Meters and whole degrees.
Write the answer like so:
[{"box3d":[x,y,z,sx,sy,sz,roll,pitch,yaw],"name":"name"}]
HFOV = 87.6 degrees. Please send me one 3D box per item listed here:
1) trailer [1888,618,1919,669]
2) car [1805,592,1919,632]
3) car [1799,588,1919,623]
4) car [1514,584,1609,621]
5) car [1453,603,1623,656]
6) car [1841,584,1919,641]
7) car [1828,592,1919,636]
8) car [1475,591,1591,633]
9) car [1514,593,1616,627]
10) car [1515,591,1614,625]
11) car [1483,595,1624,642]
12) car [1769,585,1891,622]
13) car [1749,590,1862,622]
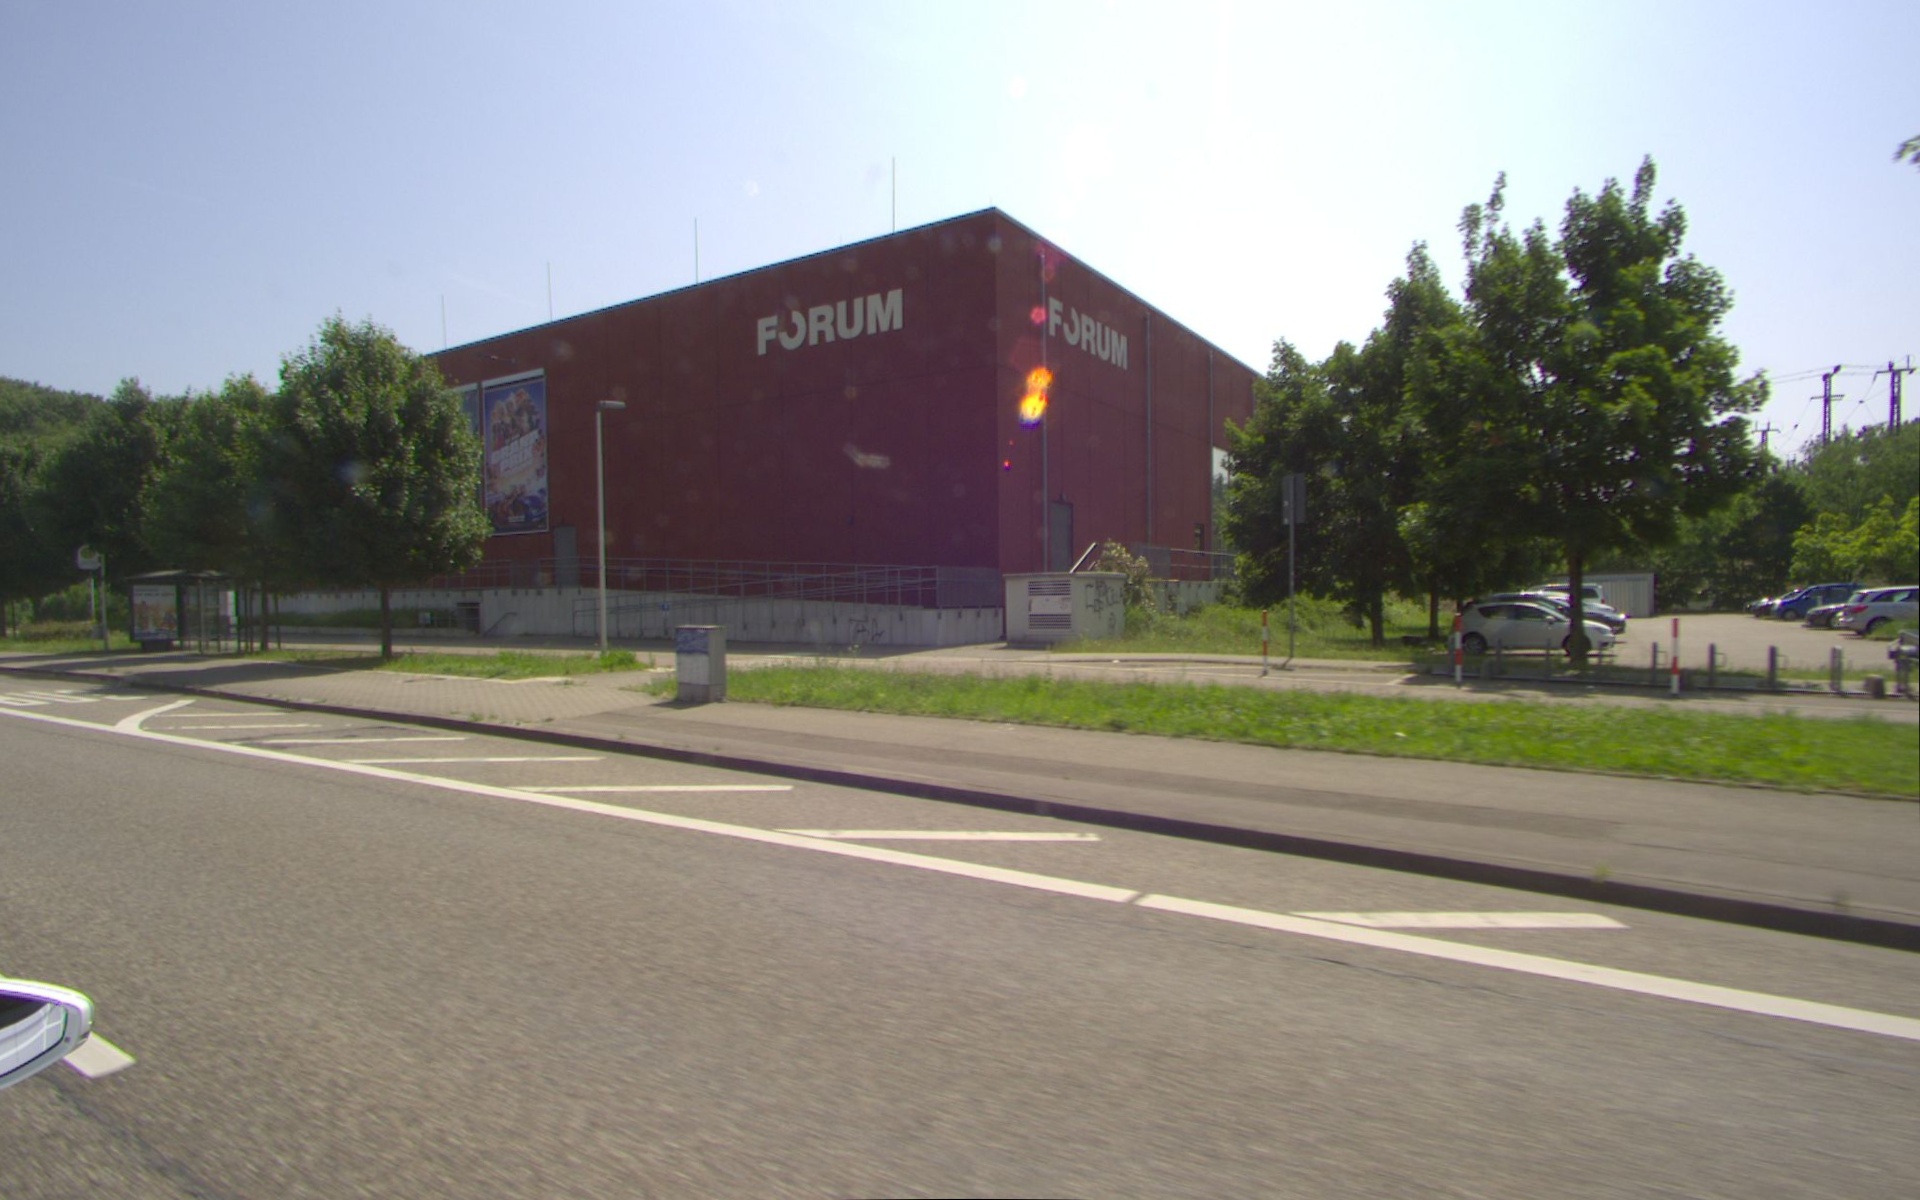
[{"box3d":[16.644,0.709,16.628,1.429,0.771,2.454,0,0,34],"name":"trailer"},{"box3d":[33.194,0.417,36.019,4.086,1.378,1.639,0,1,33],"name":"car"},{"box3d":[37.474,0.214,41.394,4.086,1.378,1.639,0,1,33],"name":"car"},{"box3d":[29.945,0.120,49.906,3.947,1.795,1.700,0,1,36],"name":"car"},{"box3d":[15.731,0.779,27.345,3.916,1.331,1.645,0,1,33],"name":"car"},{"box3d":[29.332,0.357,30.068,4.086,1.685,1.709,0,1,33],"name":"car"},{"box3d":[30.781,0.429,32.297,3.943,1.391,1.718,0,1,32],"name":"car"},{"box3d":[23.060,0.470,40.323,3.945,1.602,1.701,0,1,34],"name":"car"},{"box3d":[27.707,0.448,45.918,3.943,1.478,1.702,0,1,32],"name":"car"},{"box3d":[28.790,0.365,47.761,3.943,1.583,1.702,0,1,32],"name":"car"},{"box3d":[19.775,0.586,33.405,3.945,1.445,1.701,0,1,34],"name":"car"},{"box3d":[39.316,0.141,45.380,3.943,1.628,1.702,0,1,32],"name":"car"},{"box3d":[41.046,0.277,48.718,3.943,1.484,1.778,0,1,32],"name":"car"}]
